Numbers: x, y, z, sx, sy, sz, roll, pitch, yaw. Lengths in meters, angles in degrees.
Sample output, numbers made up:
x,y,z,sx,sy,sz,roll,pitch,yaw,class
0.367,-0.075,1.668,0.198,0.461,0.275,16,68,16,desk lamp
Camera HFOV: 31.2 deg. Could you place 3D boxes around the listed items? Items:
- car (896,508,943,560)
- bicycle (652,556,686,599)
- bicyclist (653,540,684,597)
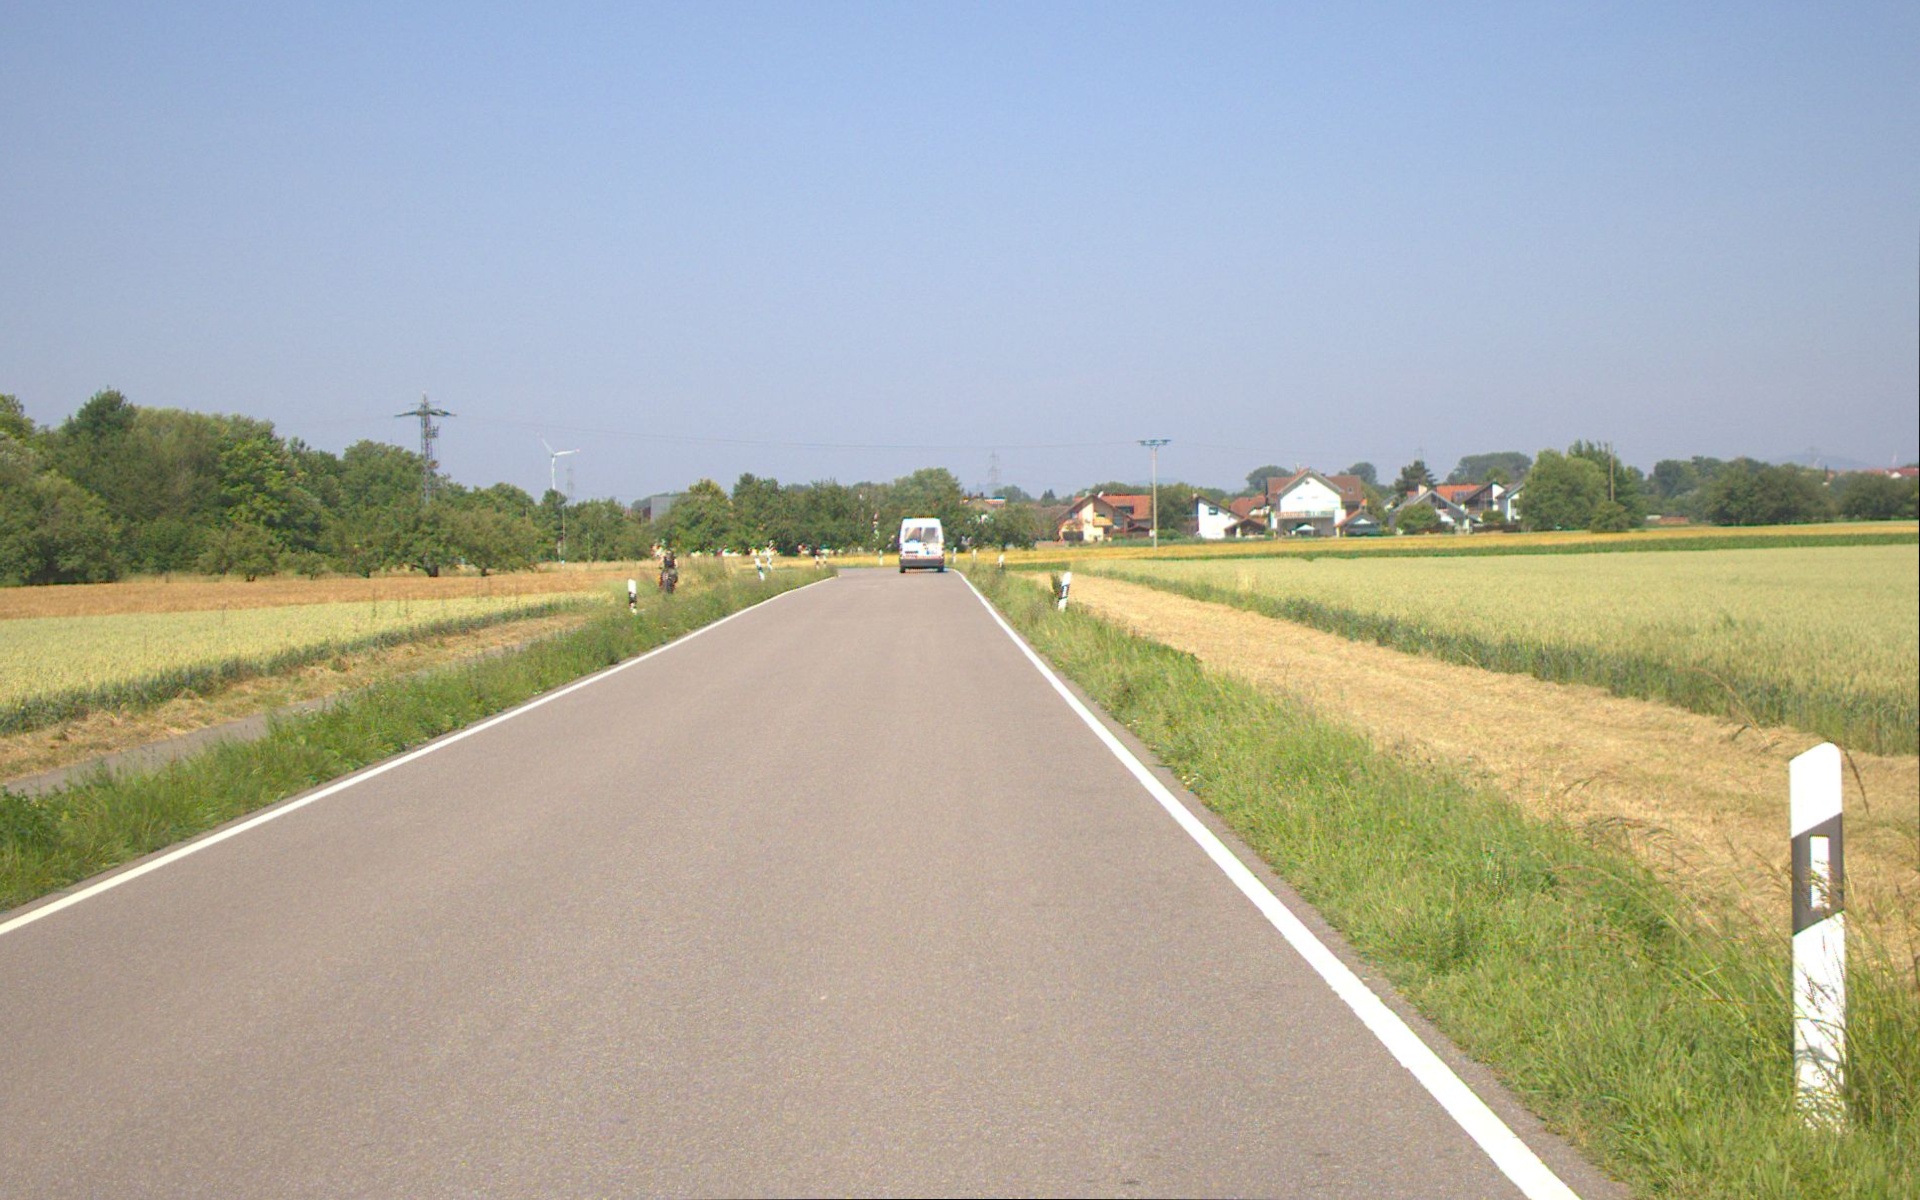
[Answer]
x,y,z,sx,sy,sz,roll,pitch,yaw,class
-1.851,-3.011,157.150,2.107,2.296,5.496,0,1,-1,car
-8.747,-0.683,103.328,0.759,1.231,2.394,-3,1,0,bicycle
-8.747,-0.939,103.245,0.760,1.667,1.088,-3,1,0,bicyclist
